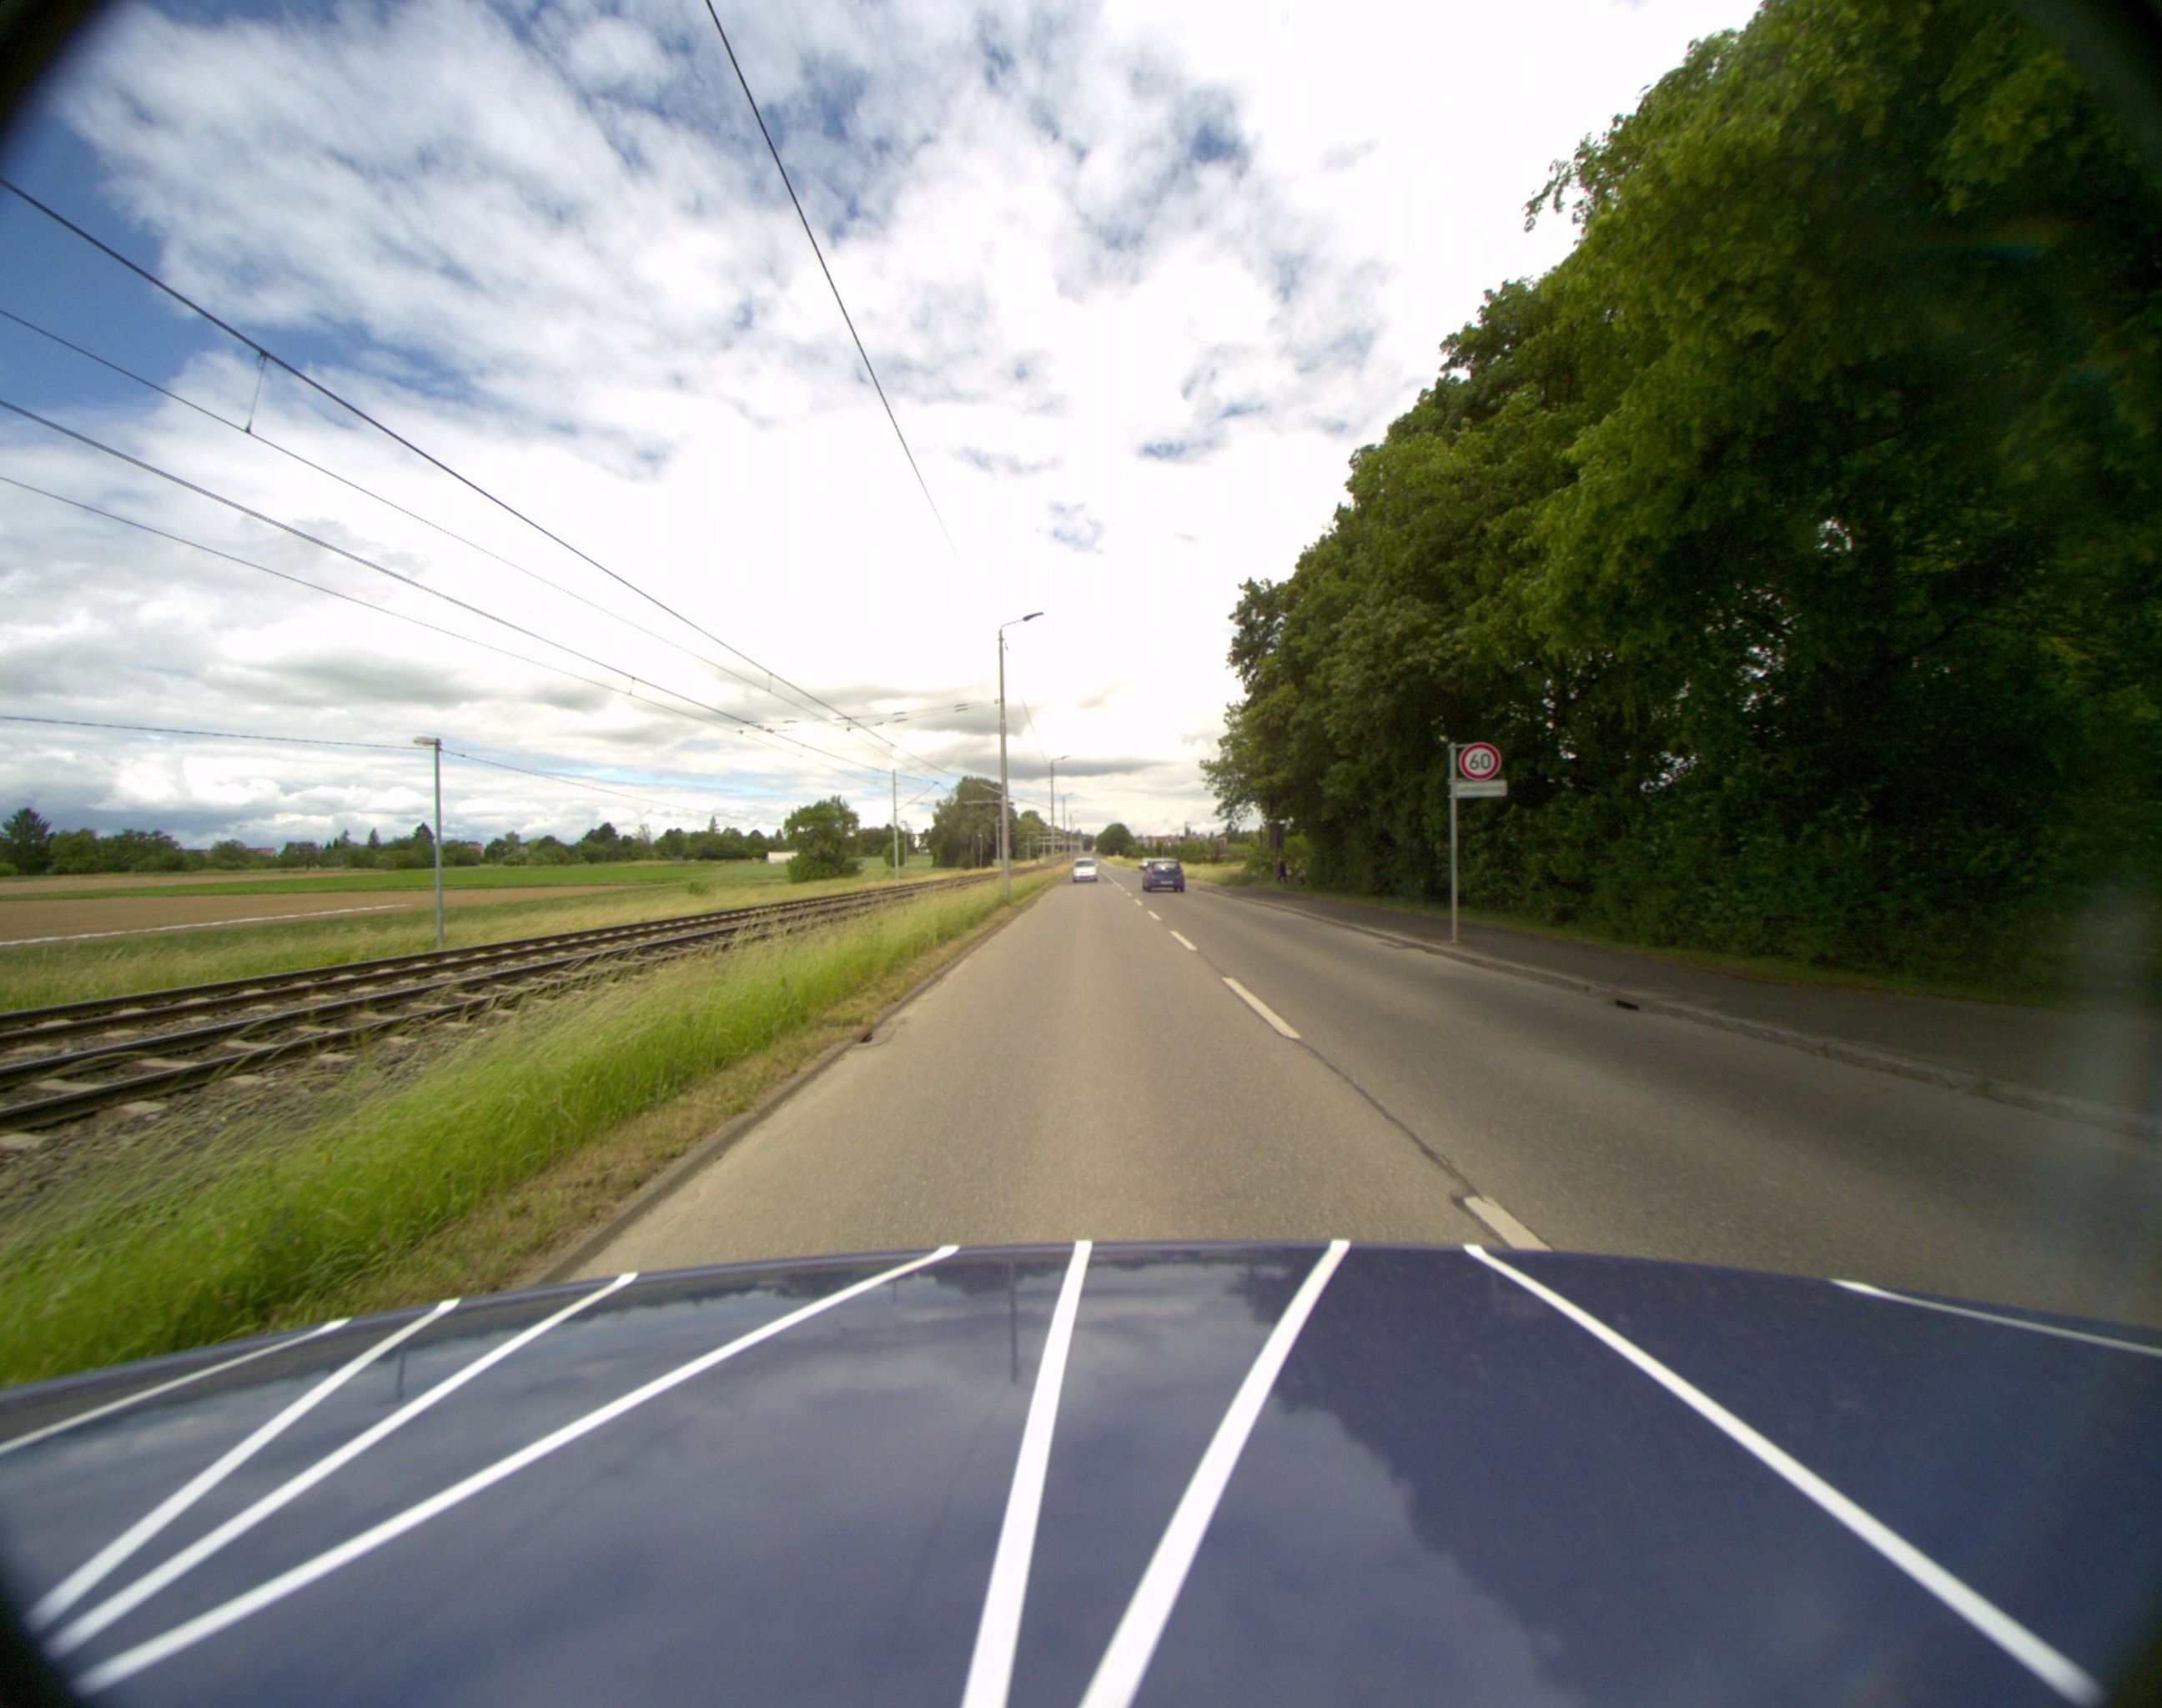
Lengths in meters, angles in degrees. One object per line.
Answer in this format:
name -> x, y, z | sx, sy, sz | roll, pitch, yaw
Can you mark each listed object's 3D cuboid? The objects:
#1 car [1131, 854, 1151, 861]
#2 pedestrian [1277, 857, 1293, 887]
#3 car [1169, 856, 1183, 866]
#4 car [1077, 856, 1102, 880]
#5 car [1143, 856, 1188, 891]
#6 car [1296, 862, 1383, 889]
car -> 11.122, 0.670, 140.846 | 3.216, 1.244, 1.455 | -2, 1, 29
pedestrian -> 10.914, 0.947, 40.648 | 0.706, 1.584, 0.707 | -1, -1, 11
car -> 12.610, 0.929, 100.820 | 1.451, 1.244, 3.599 | -3, 1, 1
car -> 0.589, 0.960, 53.152 | 1.643, 1.510, 3.869 | -3, 1, 1
car -> 3.823, 0.846, 34.972 | 1.711, 1.519, 3.824 | 0, 0, 1
car -> 13.368, 1.100, 39.519 | 3.994, 1.304, 1.745 | 1, 1, 8
